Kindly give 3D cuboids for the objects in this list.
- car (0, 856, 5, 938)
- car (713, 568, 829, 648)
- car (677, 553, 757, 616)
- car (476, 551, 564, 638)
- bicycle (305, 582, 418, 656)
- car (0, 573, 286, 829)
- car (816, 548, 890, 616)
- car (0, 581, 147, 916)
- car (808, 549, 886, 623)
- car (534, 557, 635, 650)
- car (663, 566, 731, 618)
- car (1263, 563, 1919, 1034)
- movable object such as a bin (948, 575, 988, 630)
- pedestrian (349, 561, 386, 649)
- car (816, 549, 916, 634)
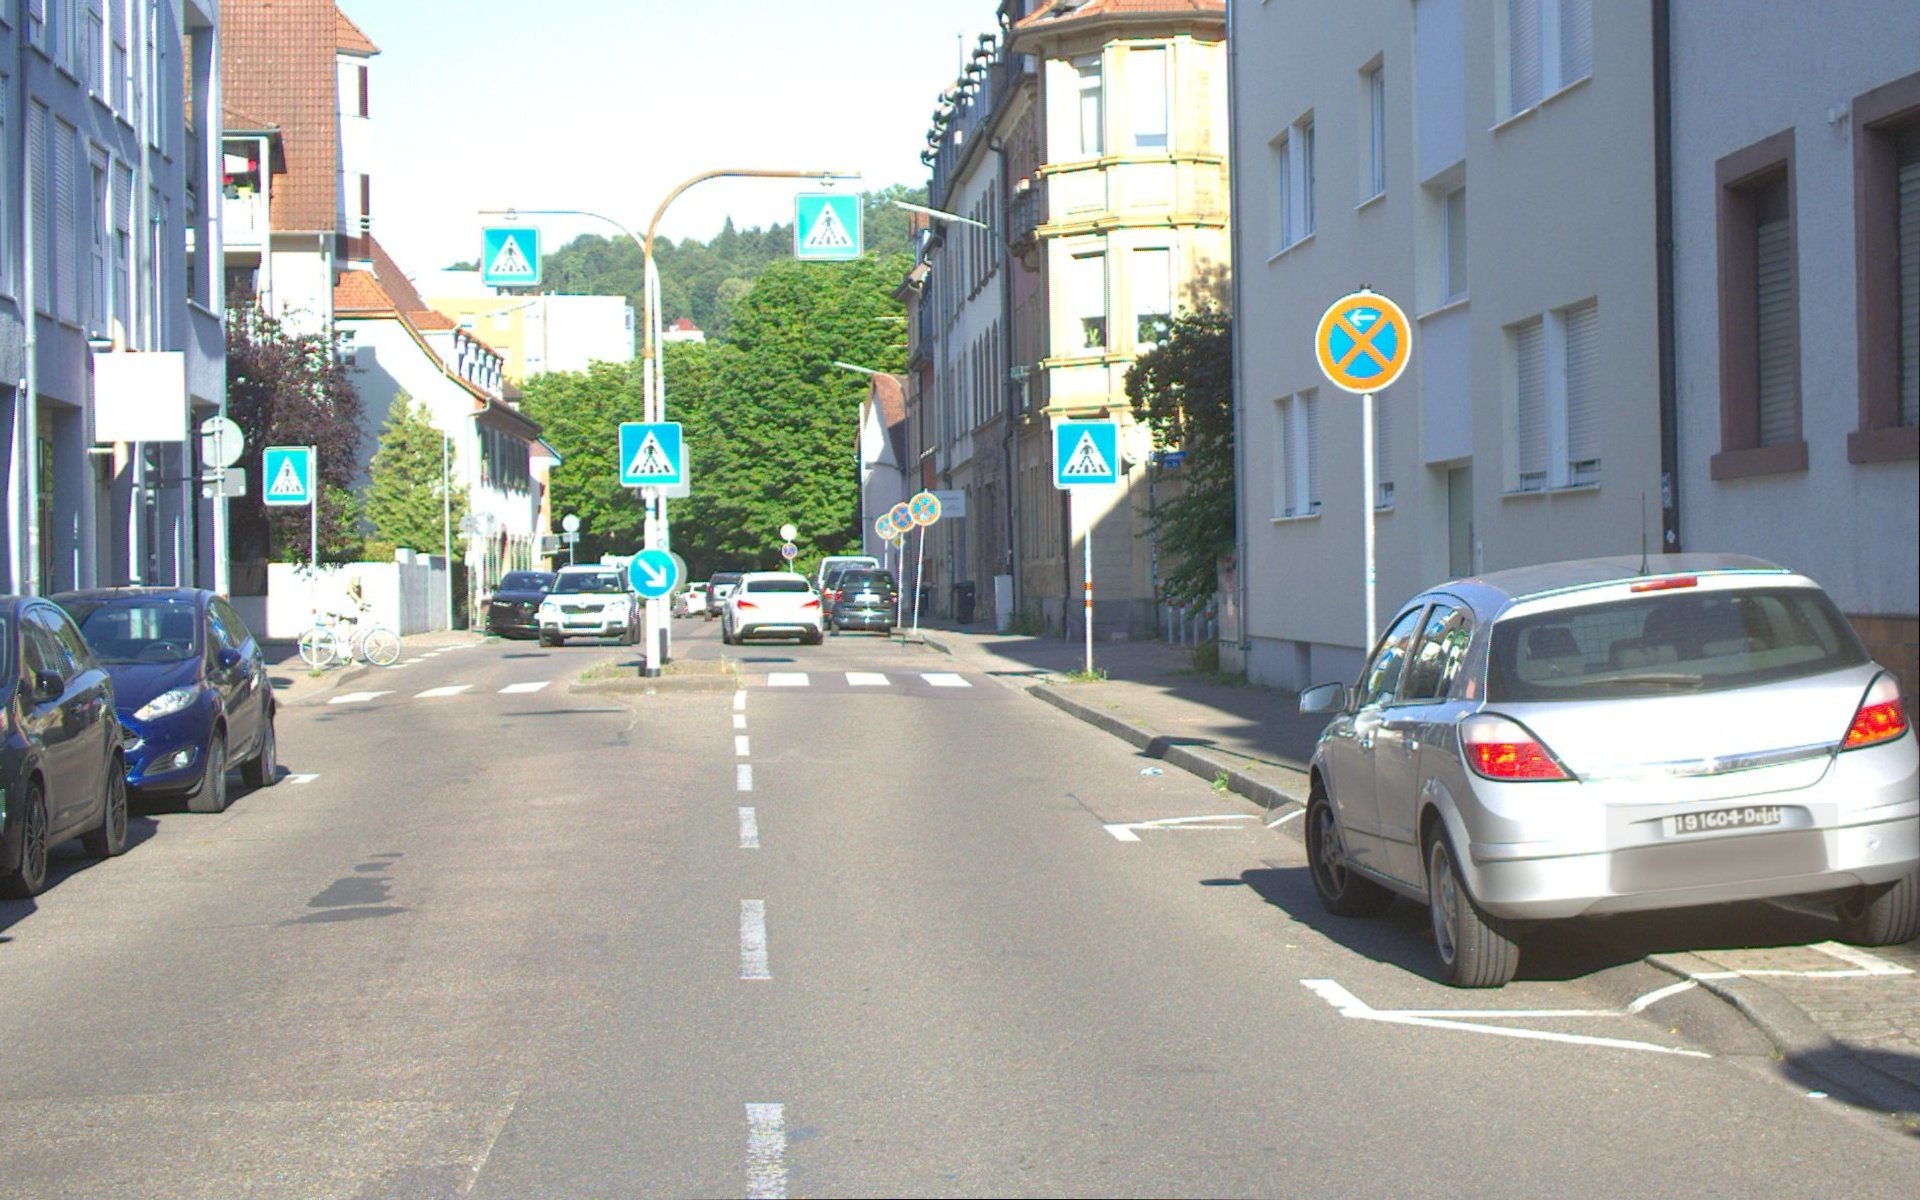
[{"bbox_3d":[-4.809,0.774,12.601,1.764,1.490,4.127,-3,1,-6],"label":"car"},{"bbox_3d":[-3.723,0.133,67.065,1.993,1.461,4.001,-1,1,-6],"label":"car"},{"bbox_3d":[-8.141,-0.527,114.997,1.993,2.007,4.001,-2,1,-13],"label":"car"},{"bbox_3d":[-10.602,-0.153,83.038,1.993,2.007,4.001,-1,1,-6],"label":"car"},{"bbox_3d":[-10.032,0.308,57.645,1.786,1.180,0.599,-2,1,-3],"label":"bicycle"},{"bbox_3d":[-5.703,0.617,23.438,1.730,1.494,3.960,-2,1,-5],"label":"car"},{"bbox_3d":[-2.773,-0.495,89.674,1.818,1.625,4.000,-2,1,-1],"label":"car"},{"bbox_3d":[-5.353,0.689,17.774,1.660,1.521,3.809,-1,1,-4],"label":"car"},{"bbox_3d":[-3.134,-0.396,94.587,1.841,1.899,4.001,-2,1,-5],"label":"car"},{"bbox_3d":[-7.552,0.094,68.874,1.807,1.696,4.192,-3,0,-8],"label":"car"},{"bbox_3d":[-10.558,-0.337,137.970,1.993,2.007,4.001,-1,1,-15],"label":"car"},{"bbox_3d":[2.429,0.637,13.718,1.741,1.487,4.439,-3,1,-3],"label":"car"},{"bbox_3d":[0.205,0.063,89.303,0.871,1.373,0.685,-3,2,-8],"label":"movable object such as a bin"},{"bbox_3d":[-10.006,0.075,58.051,0.556,1.467,0.601,-2,1,-7],"label":"pedestrian"},{"bbox_3d":[-2.169,-0.216,78.190,2.010,1.846,4.001,0,1,-5],"label":"car"}]
